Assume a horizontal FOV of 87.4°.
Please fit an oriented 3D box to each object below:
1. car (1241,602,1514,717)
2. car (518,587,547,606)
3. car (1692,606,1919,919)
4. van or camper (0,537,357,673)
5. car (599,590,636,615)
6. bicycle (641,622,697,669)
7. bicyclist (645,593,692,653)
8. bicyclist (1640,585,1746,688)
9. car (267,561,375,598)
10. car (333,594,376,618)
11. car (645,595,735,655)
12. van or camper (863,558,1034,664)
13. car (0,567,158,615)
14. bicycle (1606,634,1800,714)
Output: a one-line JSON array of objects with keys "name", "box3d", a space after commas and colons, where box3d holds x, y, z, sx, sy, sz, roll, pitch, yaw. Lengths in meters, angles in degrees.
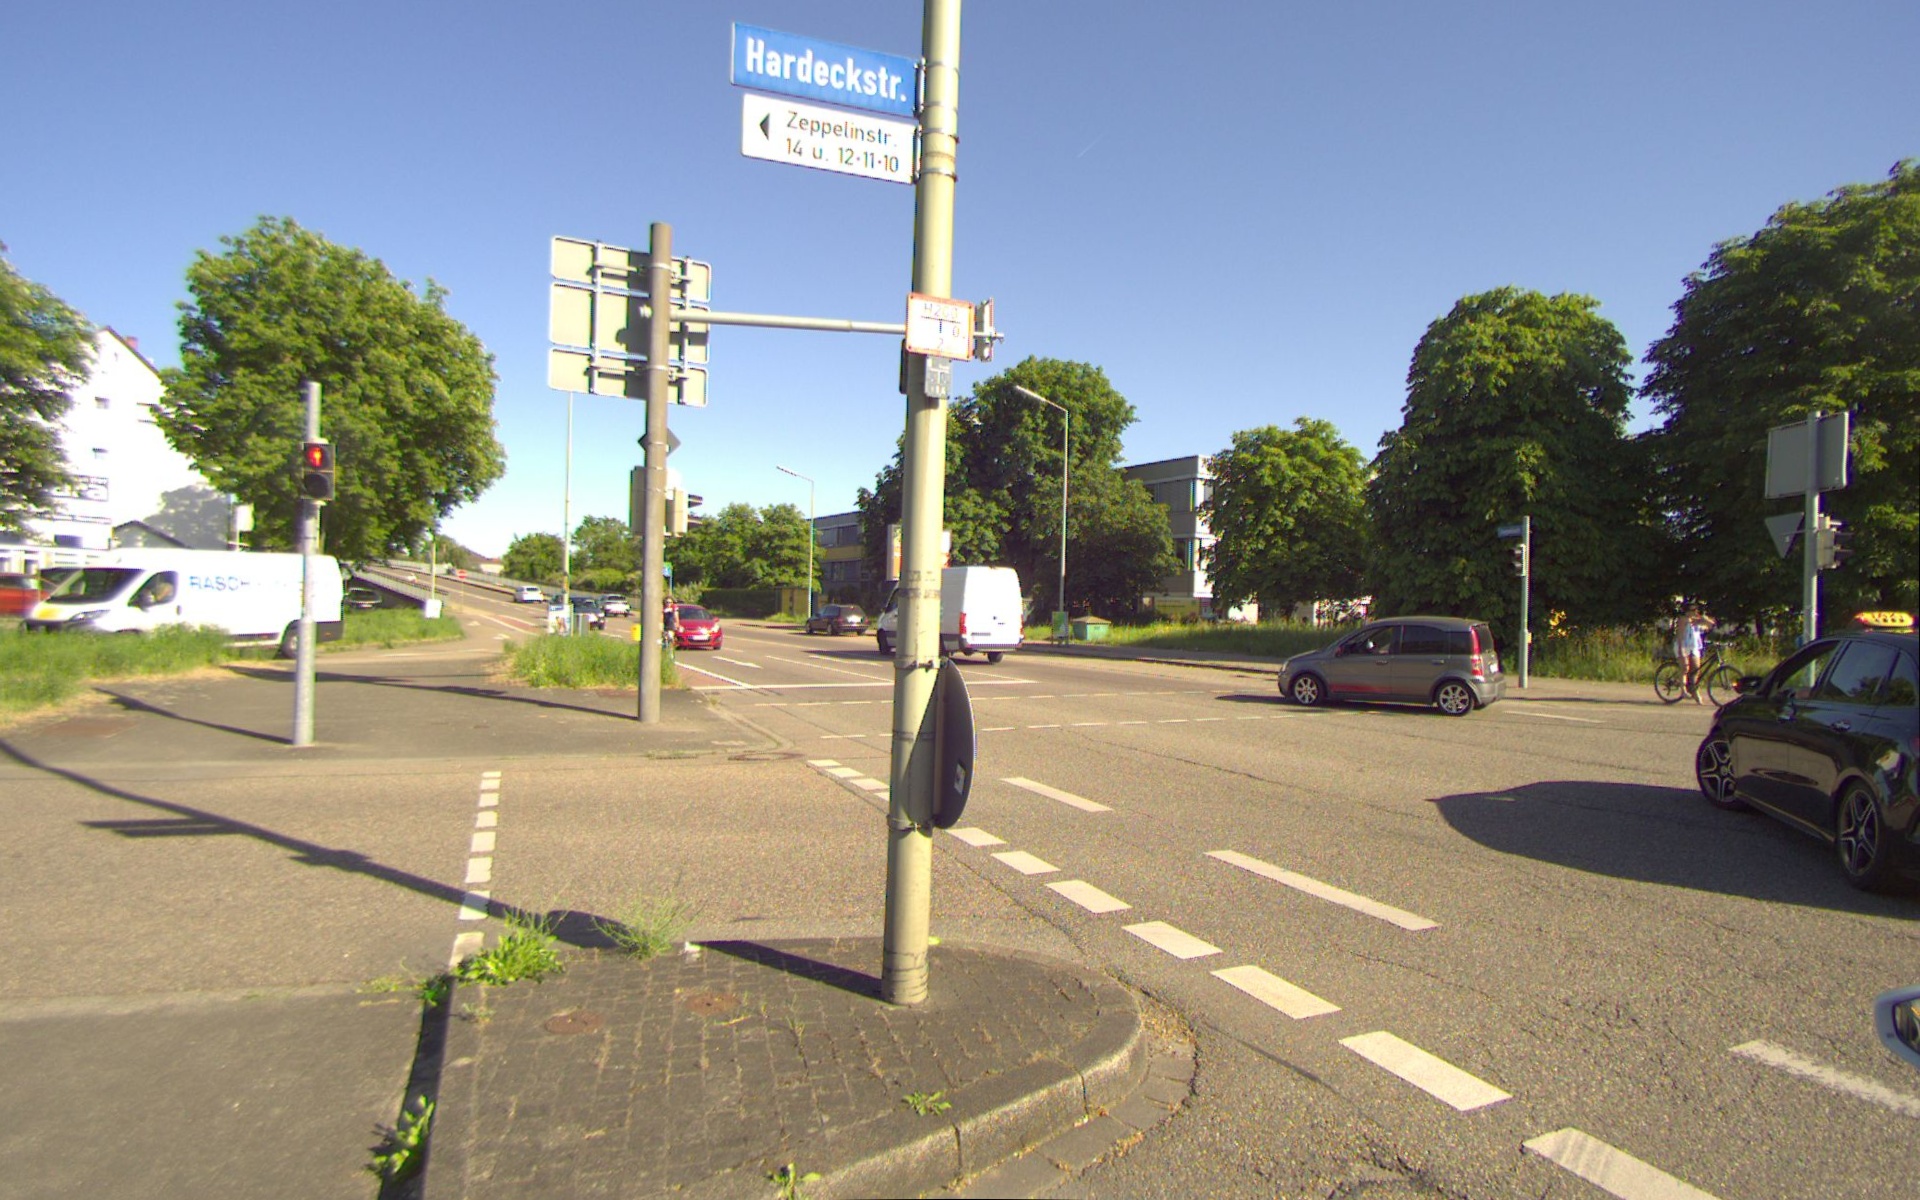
[{"name": "car", "box3d": [7.005, 0.921, 16.993, 3.935, 1.661, 1.804, 1, -1, 37]}, {"name": "car", "box3d": [-38.131, -0.361, 89.473, 1.861, 1.564, 3.967, 2, 0, -30]}, {"name": "car", "box3d": [6.490, 0.888, 6.677, 1.741, 1.614, 3.987, 2, 0, 23]}, {"name": "van or camper", "box3d": [-17.353, 0.099, 22.818, 2.553, 2.617, 6.615, 1, 0, 10]}, {"name": "car", "box3d": [-24.128, 0.163, 70.603, 1.974, 1.702, 3.973, 1, 0, -26]}, {"name": "bicycle", "box3d": [-7.187, 1.098, 24.723, 0.928, 1.030, 2.182, 2, 0, -27]}, {"name": "bicyclist", "box3d": [-7.186, 0.570, 24.764, 0.924, 1.420, 0.817, 2, 0, -27]}, {"name": "bicyclist", "box3d": [12.792, 0.619, 17.571, 0.876, 1.715, 1.189, 2, 0, -7]}, {"name": "car", "box3d": [-31.083, -0.999, 48.947, 1.969, 1.581, 3.984, 2, 0, 38]}, {"name": "car", "box3d": [-40.746, 0.380, 67.539, 2.025, 1.483, 4.911, 2, 0, -36]}, {"name": "car", "box3d": [-9.034, 0.786, 33.382, 1.837, 1.759, 4.235, 2, 0, -30]}, {"name": "van or camper", "box3d": [-0.565, 0.266, 30.079, 2.205, 2.775, 7.031, 2, 0, -27]}, {"name": "car", "box3d": [-27.479, -0.275, 29.961, 2.316, 1.327, 5.056, 2, 0, 25]}, {"name": "bicycle", "box3d": [12.789, 1.234, 17.473, 0.886, 1.140, 2.949, 2, 0, -7]}]
